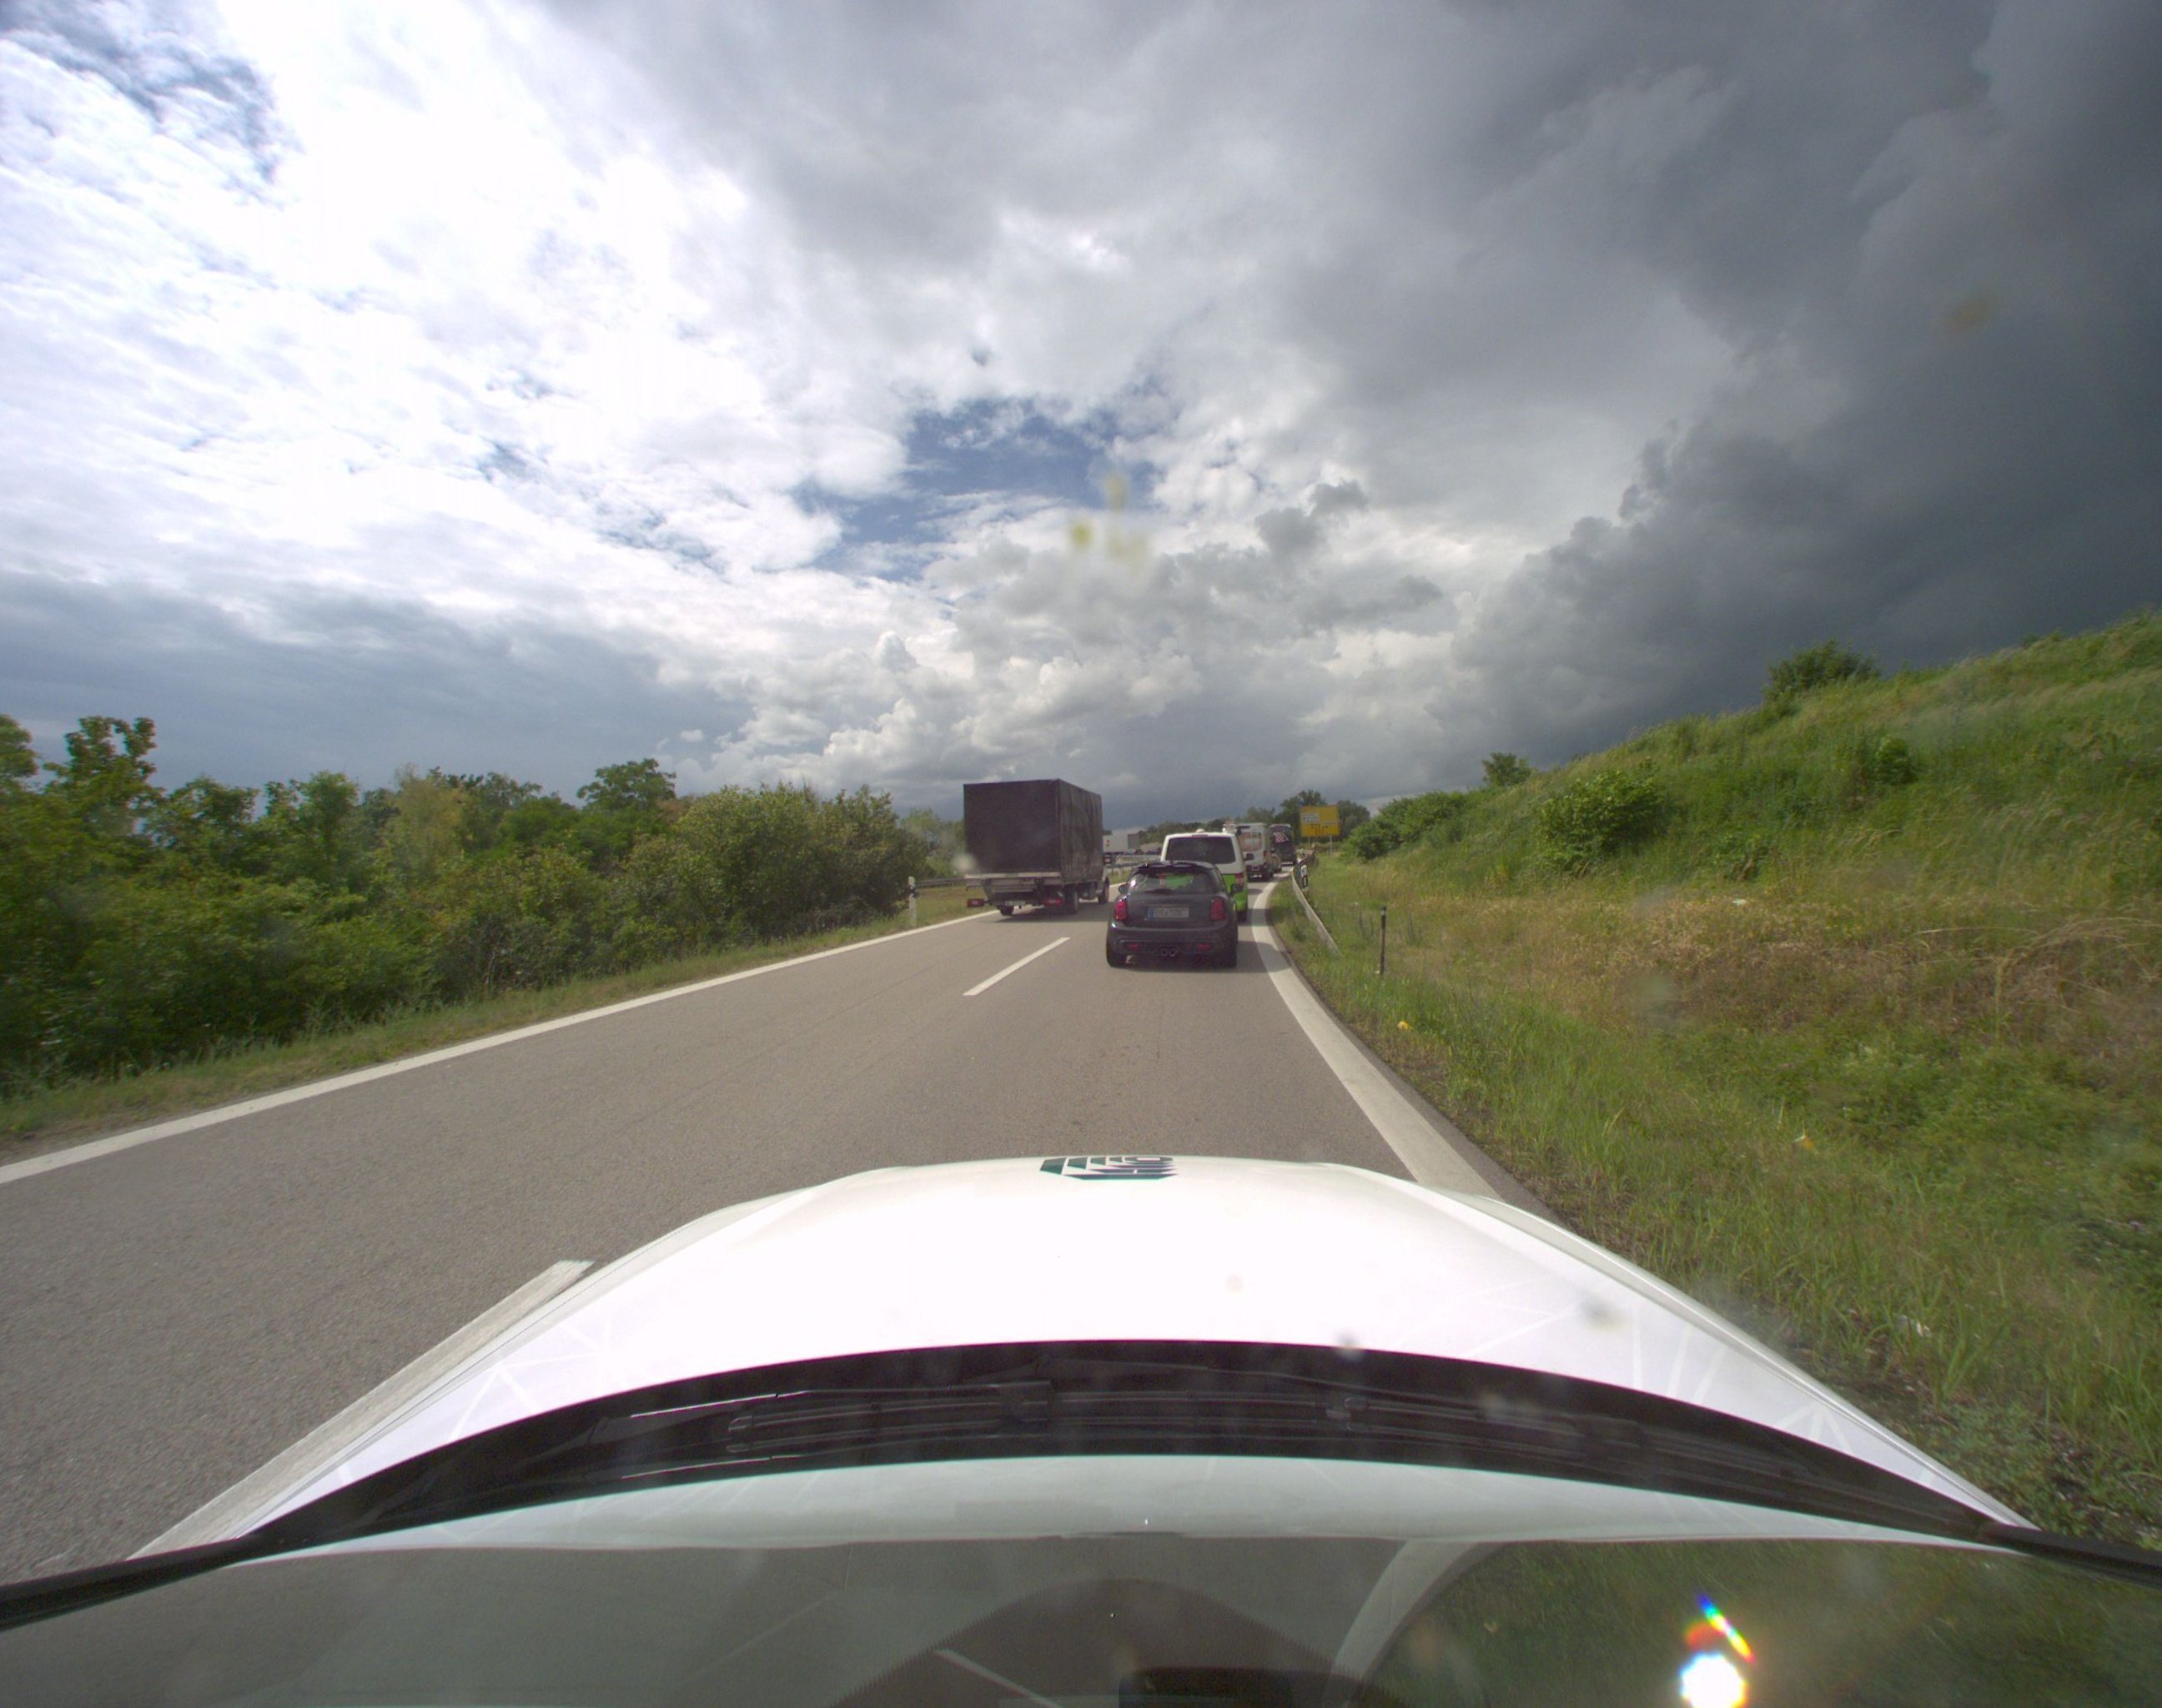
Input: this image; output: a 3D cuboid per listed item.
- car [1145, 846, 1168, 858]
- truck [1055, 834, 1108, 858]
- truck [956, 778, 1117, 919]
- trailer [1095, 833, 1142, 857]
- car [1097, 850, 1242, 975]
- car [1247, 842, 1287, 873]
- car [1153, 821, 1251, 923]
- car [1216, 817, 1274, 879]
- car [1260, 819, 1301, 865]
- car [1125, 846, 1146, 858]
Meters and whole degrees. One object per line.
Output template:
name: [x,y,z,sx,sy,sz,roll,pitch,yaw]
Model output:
car: [12.011,-0.369,129.767,1.928,1.838,4.287,0,-1,-20]
truck: [-0.061,-1.327,142.948,9.902,3.976,2.863,-1,-1,42]
truck: [-0.874,-0.082,22.172,2.544,3.168,7.491,-1,-1,11]
trailer: [6.178,-1.411,136.246,3.060,3.898,8.674,0,-1,-37]
car: [1.424,0.726,12.036,1.788,1.546,3.749,-1,0,10]
car: [10.518,0.210,45.886,1.979,1.642,3.944,-1,-1,15]
car: [2.889,0.389,18.635,1.898,2.045,4.195,-1,0,12]
car: [7.580,-0.215,37.260,2.195,2.622,5.556,-1,-1,15]
car: [14.243,-0.787,57.833,2.292,3.069,6.693,-1,-1,18]
car: [8.599,-0.271,128.094,1.819,1.756,3.972,0,-1,-20]
